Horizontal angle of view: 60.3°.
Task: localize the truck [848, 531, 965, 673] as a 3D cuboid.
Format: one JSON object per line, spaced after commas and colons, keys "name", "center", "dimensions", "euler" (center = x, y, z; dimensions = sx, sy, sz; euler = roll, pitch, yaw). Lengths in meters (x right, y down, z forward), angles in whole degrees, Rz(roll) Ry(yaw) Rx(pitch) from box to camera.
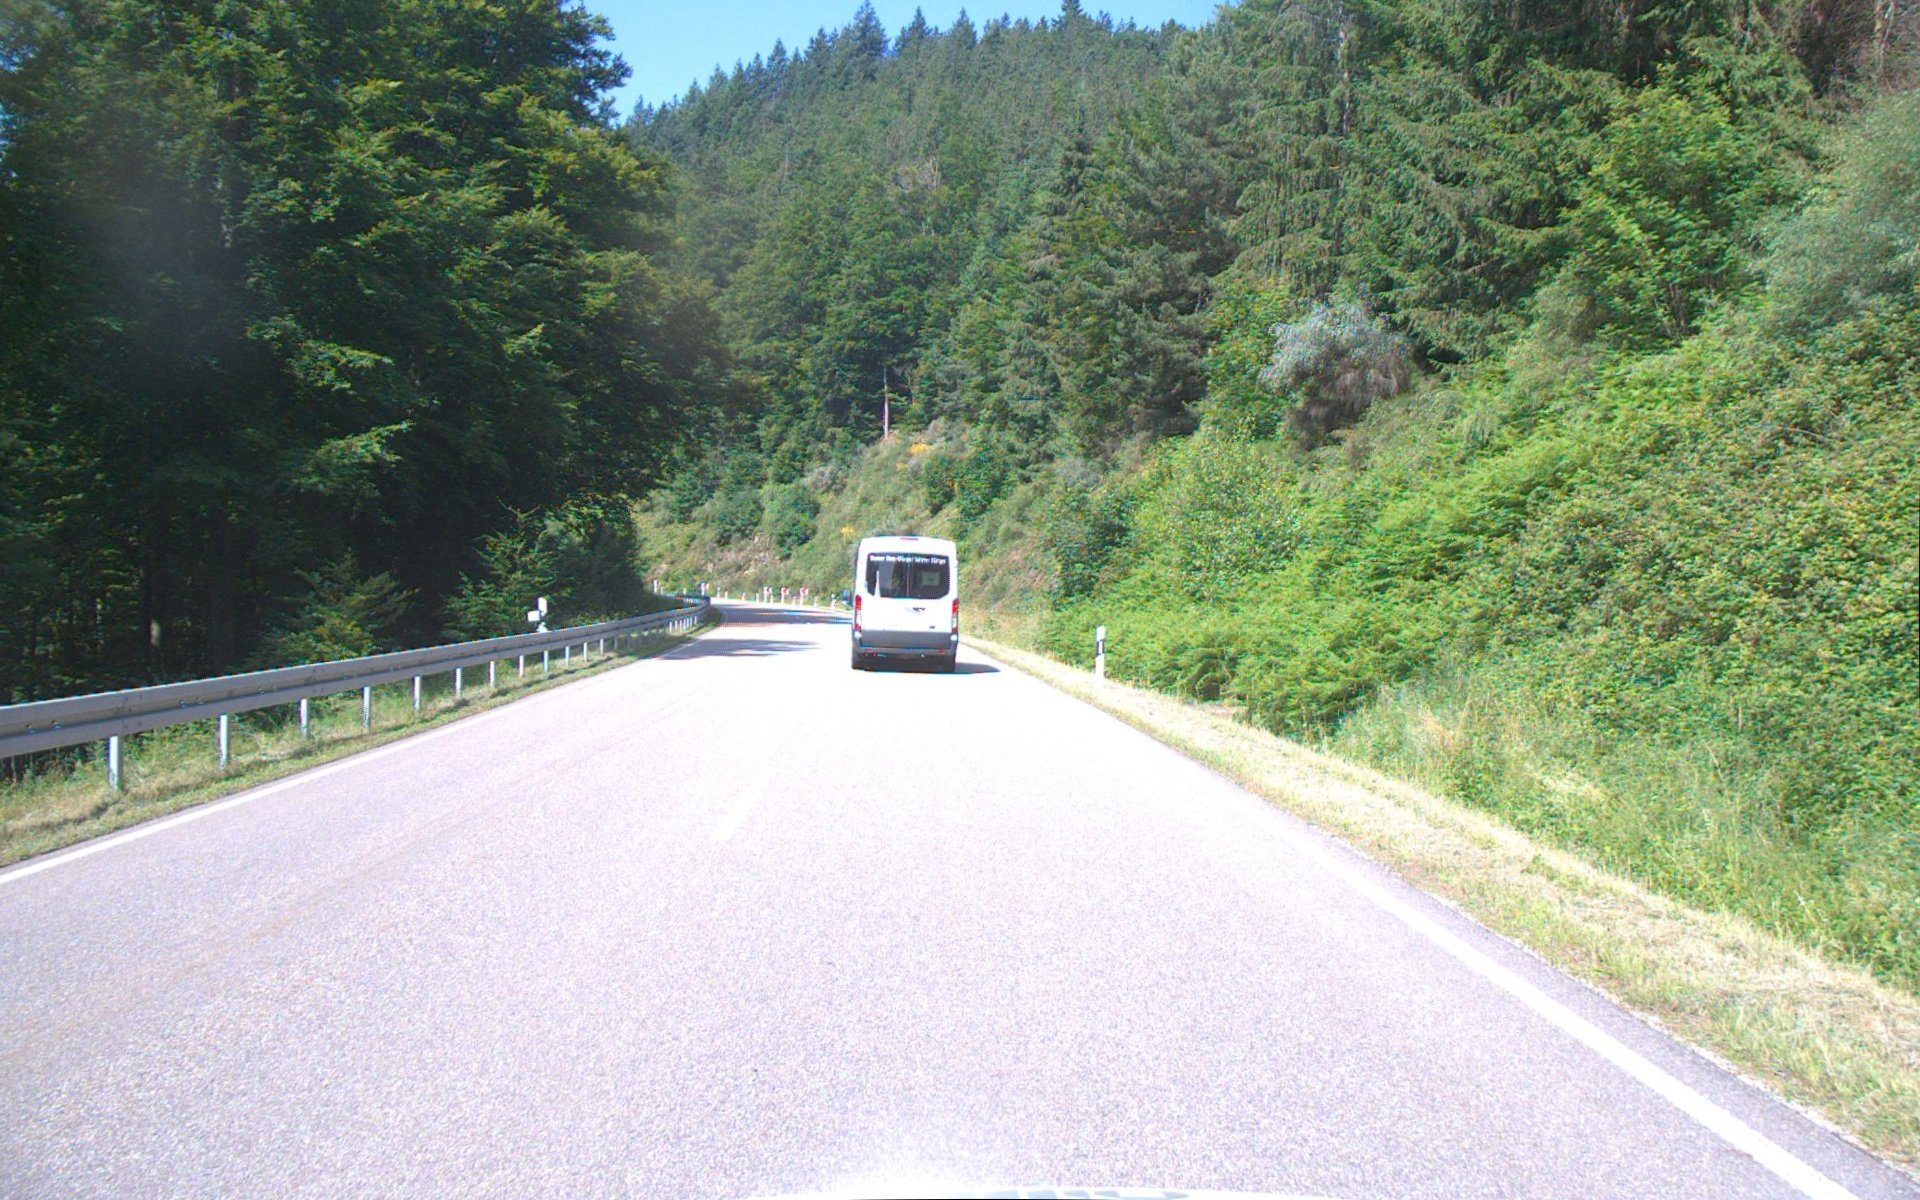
{"name": "truck", "center": [-1.127, 0.022, 32.417], "dimensions": [2.042, 2.502, 4.871], "euler": [2, 0, -4]}
